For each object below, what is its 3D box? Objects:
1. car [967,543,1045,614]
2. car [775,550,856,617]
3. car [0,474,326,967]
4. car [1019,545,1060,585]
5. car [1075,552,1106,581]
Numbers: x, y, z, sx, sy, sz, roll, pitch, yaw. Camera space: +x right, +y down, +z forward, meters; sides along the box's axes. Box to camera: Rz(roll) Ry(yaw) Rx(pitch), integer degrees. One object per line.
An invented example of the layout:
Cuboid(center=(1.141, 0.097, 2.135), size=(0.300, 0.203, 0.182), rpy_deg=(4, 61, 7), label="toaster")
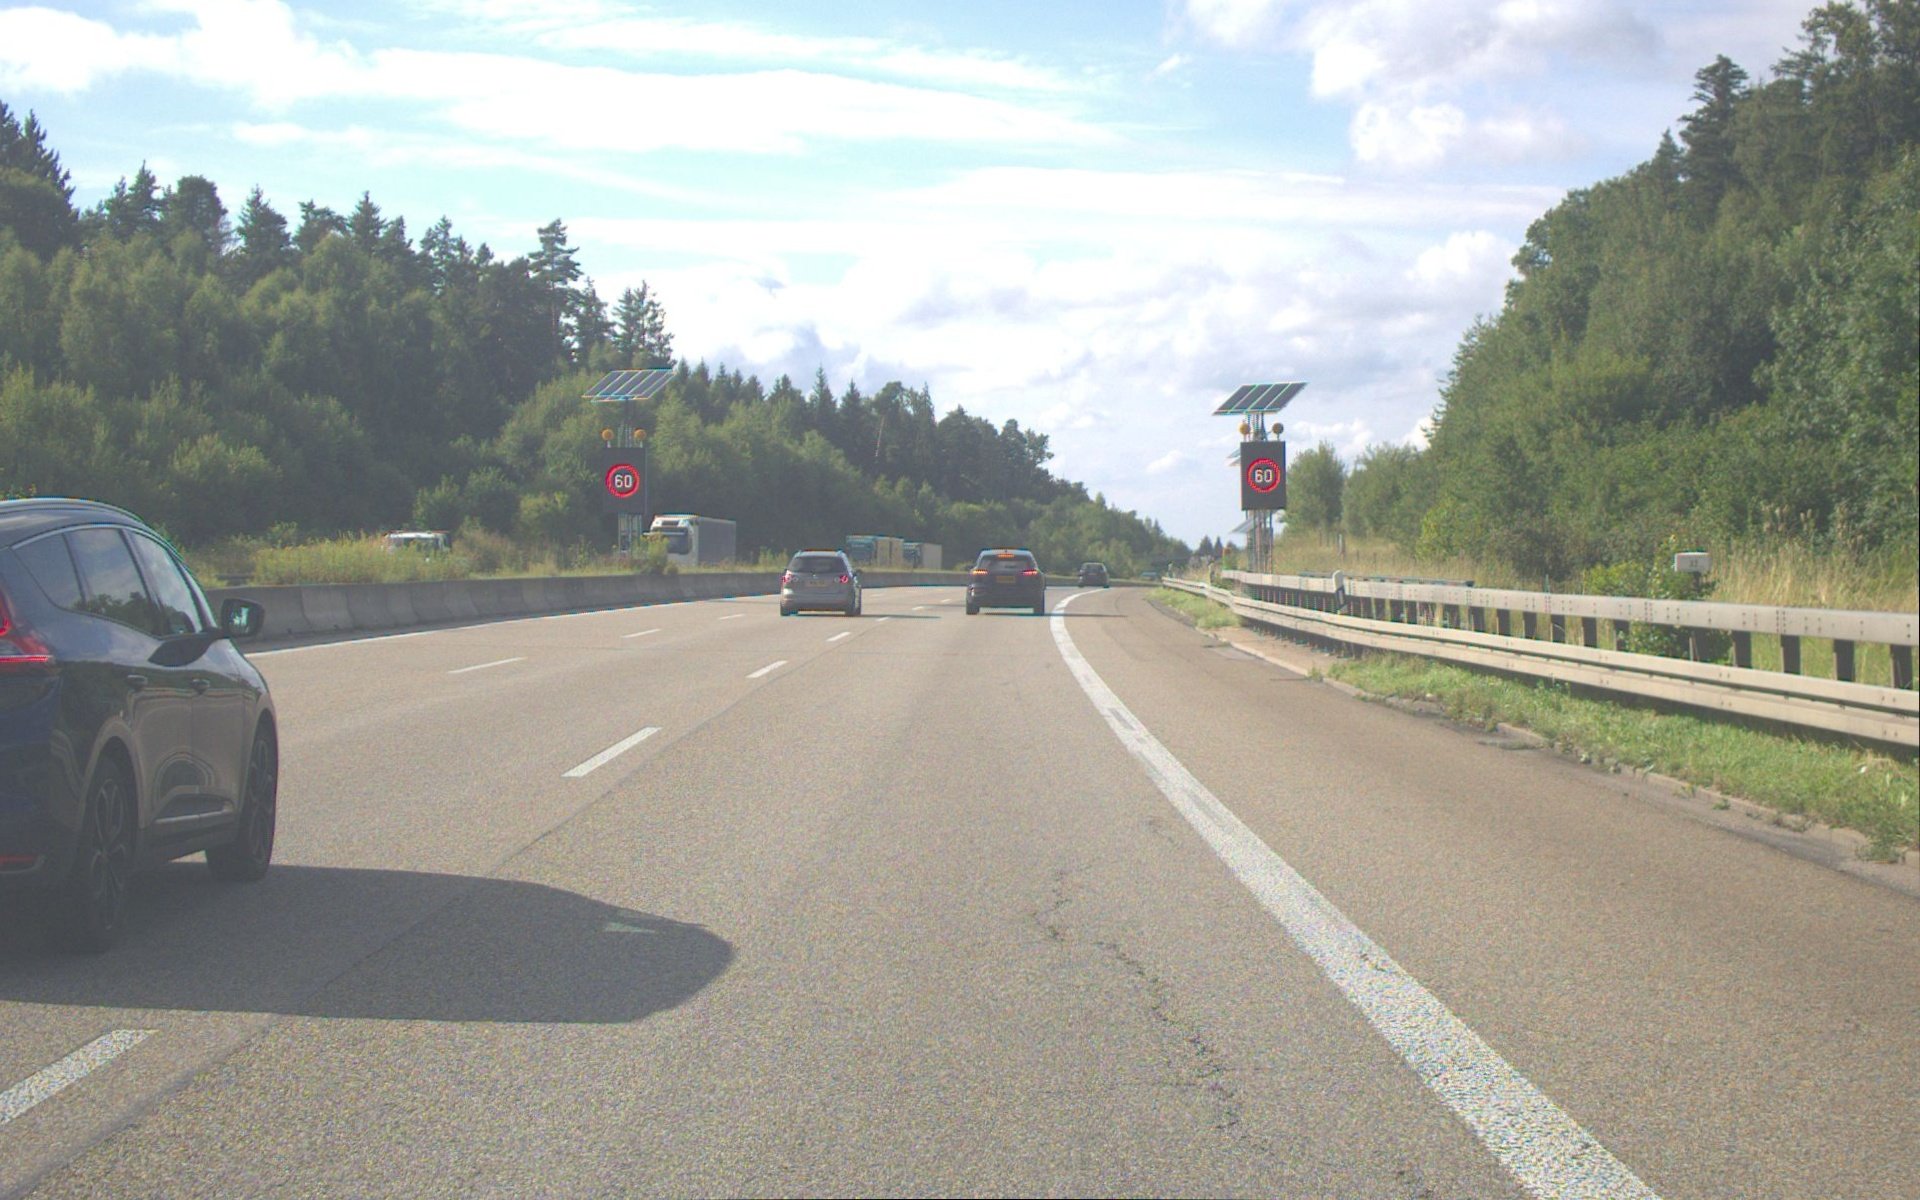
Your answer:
Cuboid(center=(1.137, -0.546, 85.959), size=(1.873, 1.669, 3.890), rpy_deg=(1, 1, 0), label="car")
Cuboid(center=(-3.471, -0.409, 82.054), size=(1.873, 1.492, 3.880), rpy_deg=(1, 1, -3), label="car")
Cuboid(center=(-3.984, 0.366, 14.112), size=(1.993, 1.701, 4.529), rpy_deg=(1, 1, -1), label="car")
Cuboid(center=(4.144, -1.856, 179.692), size=(1.993, 2.007, 4.000), rpy_deg=(1, 1, 0), label="car")
Cuboid(center=(7.946, -2.073, 209.398), size=(1.812, 1.700, 4.000), rpy_deg=(0, 1, 2), label="car")
